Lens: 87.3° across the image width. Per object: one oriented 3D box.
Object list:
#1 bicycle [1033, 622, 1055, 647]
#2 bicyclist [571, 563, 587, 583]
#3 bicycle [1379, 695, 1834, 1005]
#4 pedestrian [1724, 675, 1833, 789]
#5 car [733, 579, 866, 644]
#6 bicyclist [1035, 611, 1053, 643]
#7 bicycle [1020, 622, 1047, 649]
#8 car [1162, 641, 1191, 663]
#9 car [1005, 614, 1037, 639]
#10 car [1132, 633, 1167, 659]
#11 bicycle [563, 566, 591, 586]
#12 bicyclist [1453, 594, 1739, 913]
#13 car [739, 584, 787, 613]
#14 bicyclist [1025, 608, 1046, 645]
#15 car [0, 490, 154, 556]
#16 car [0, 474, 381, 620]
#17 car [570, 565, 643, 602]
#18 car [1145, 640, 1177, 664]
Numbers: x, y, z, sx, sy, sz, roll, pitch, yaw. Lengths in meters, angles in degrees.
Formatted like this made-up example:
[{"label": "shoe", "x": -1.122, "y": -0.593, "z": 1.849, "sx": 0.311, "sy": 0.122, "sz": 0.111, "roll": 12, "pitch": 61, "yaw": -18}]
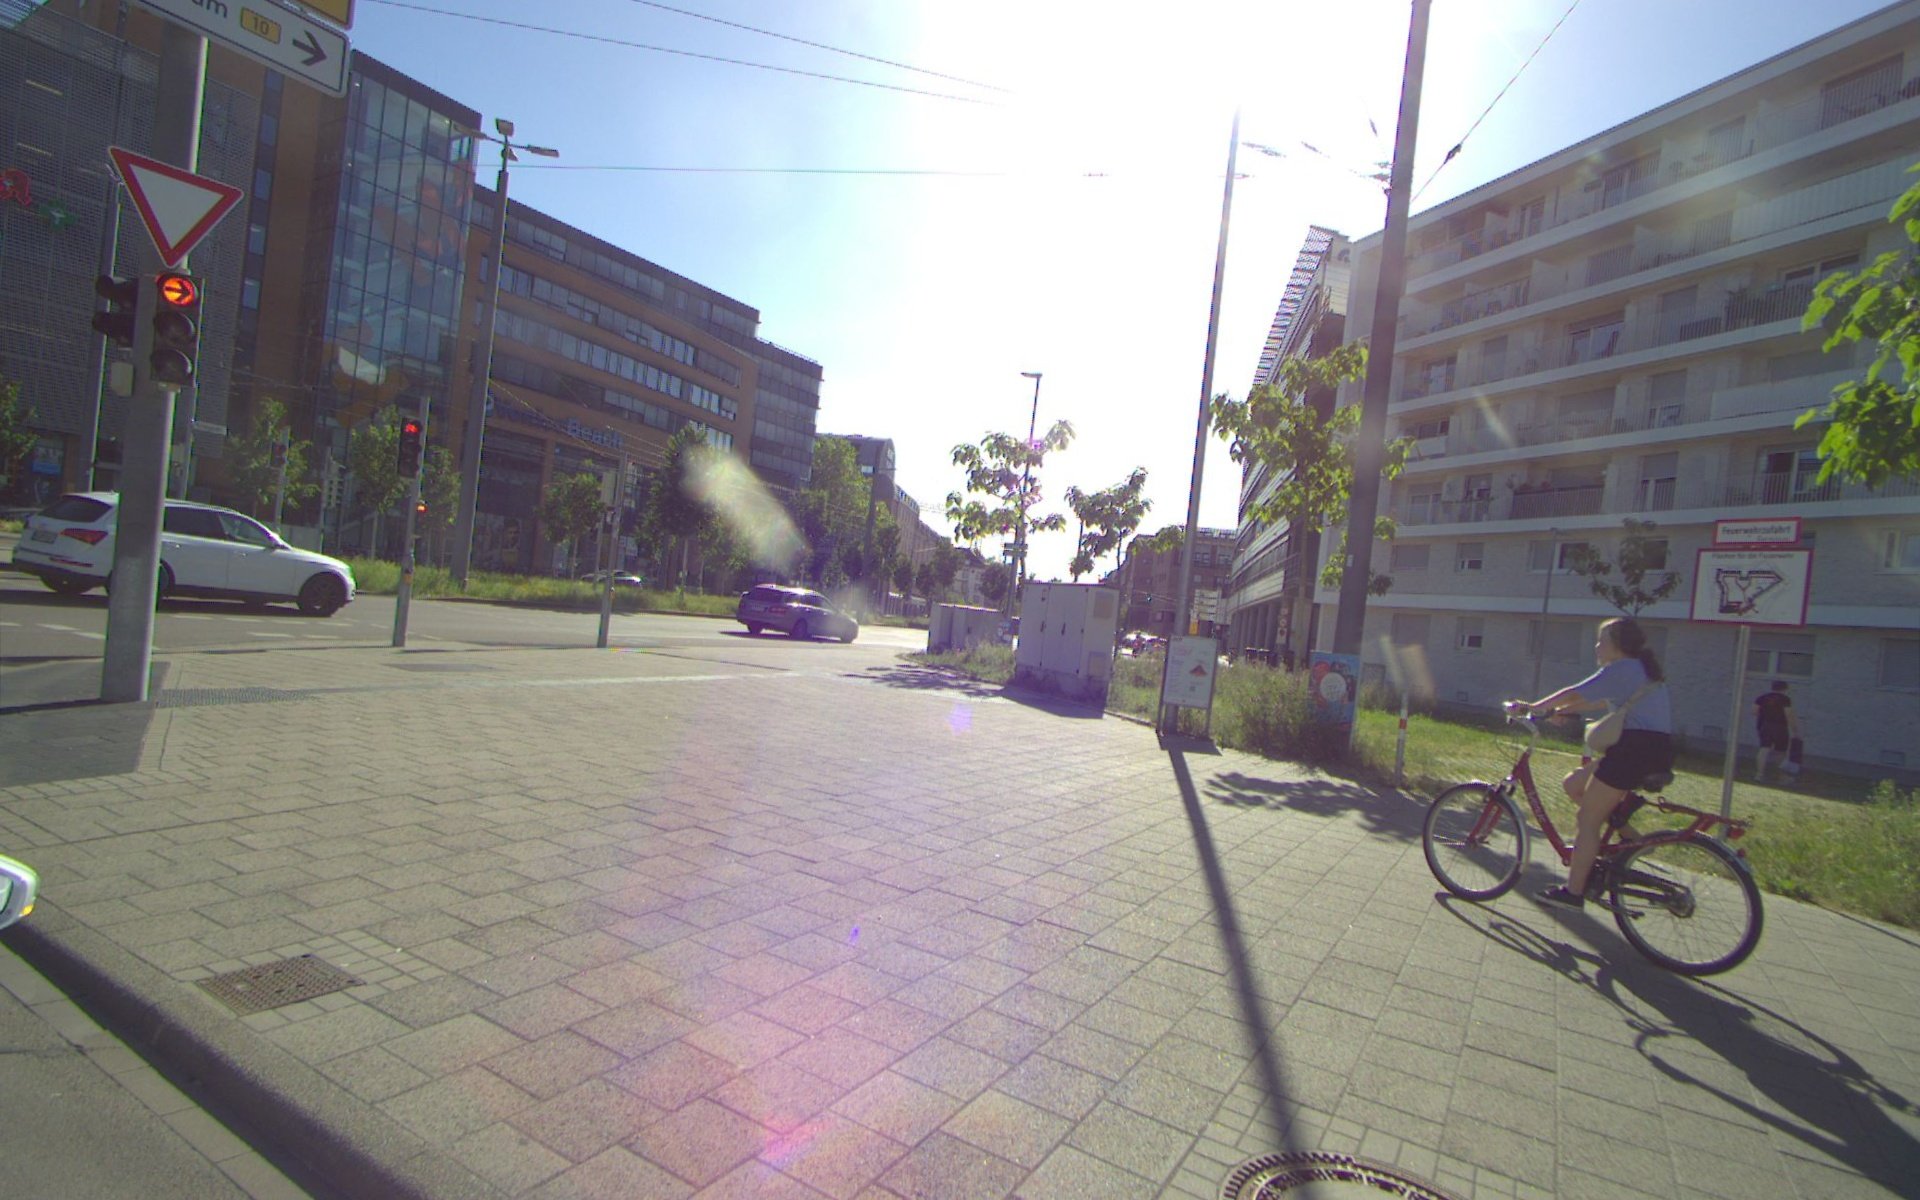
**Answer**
[{"label": "bicycle", "x": 4.472, "y": 1.839, "z": 53.599, "sx": 0.576, "sy": 1.150, "sz": 1.761, "roll": 7, "pitch": -2, "yaw": 22}, {"label": "bicyclist", "x": -27.955, "y": -1.975, "z": 73.745, "sx": 0.556, "sy": 1.404, "sz": 0.754, "roll": 9, "pitch": 2, "yaw": 31}, {"label": "bicycle", "x": 3.220, "y": 1.163, "z": 5.233, "sx": 0.661, "sy": 1.086, "sz": 1.805, "roll": 4, "pitch": 2, "yaw": -31}, {"label": "pedestrian", "x": 13.675, "y": 2.190, "z": 16.831, "sx": 0.970, "sy": 1.719, "sz": 0.842, "roll": 6, "pitch": 2, "yaw": -16}, {"label": "car", "x": -4.904, "y": 0.432, "z": 31.578, "sx": 1.676, "sy": 1.591, "sz": 4.871, "roll": 7, "pitch": -1, "yaw": 23}, {"label": "bicyclist", "x": 4.455, "y": 1.457, "z": 53.488, "sx": 0.563, "sy": 1.585, "sz": 0.886, "roll": 7, "pitch": -1, "yaw": 22}, {"label": "bicycle", "x": 3.660, "y": 1.754, "z": 49.678, "sx": 0.571, "sy": 1.150, "sz": 1.907, "roll": 7, "pitch": -2, "yaw": 25}, {"label": "car", "x": 17.915, "y": 4.314, "z": 83.265, "sx": 1.677, "sy": 1.515, "sz": 4.281, "roll": 7, "pitch": -2, "yaw": 19}, {"label": "car", "x": 4.741, "y": 2.042, "z": 77.758, "sx": 1.615, "sy": 1.665, "sz": 3.704, "roll": 7, "pitch": -1, "yaw": 15}, {"label": "car", "x": 13.489, "y": 3.257, "z": 71.377, "sx": 1.677, "sy": 1.515, "sz": 4.281, "roll": 7, "pitch": -2, "yaw": 19}, {"label": "bicycle", "x": -28.018, "y": -1.747, "z": 73.683, "sx": 0.559, "sy": 1.232, "sz": 1.859, "roll": 9, "pitch": 1, "yaw": 31}, {"label": "bicyclist", "x": 3.277, "y": 0.746, "z": 5.236, "sx": 0.662, "sy": 1.454, "sz": 0.933, "roll": 6, "pitch": 0, "yaw": -30}, {"label": "car", "x": -15.823, "y": -0.111, "z": 80.978, "sx": 1.806, "sy": 1.885, "sz": 4.343, "roll": 6, "pitch": -1, "yaw": 17}, {"label": "bicyclist", "x": 3.726, "y": 1.306, "z": 49.699, "sx": 0.563, "sy": 1.727, "sz": 0.885, "roll": 7, "pitch": -1, "yaw": 25}, {"label": "car", "x": -32.074, "y": -2.765, "z": 36.330, "sx": 1.810, "sy": 1.484, "sz": 4.161, "roll": 6, "pitch": -5, "yaw": 30}, {"label": "car", "x": -12.206, "y": -0.723, "z": 16.247, "sx": 1.902, "sy": 1.728, "sz": 4.683, "roll": 7, "pitch": 0, "yaw": 21}, {"label": "car", "x": -22.296, "y": -1.006, "z": 63.639, "sx": 1.807, "sy": 1.600, "sz": 4.310, "roll": 6, "pitch": -5, "yaw": 23}, {"label": "car", "x": 15.445, "y": 4.000, "z": 77.235, "sx": 1.677, "sy": 1.515, "sz": 4.281, "roll": 7, "pitch": -2, "yaw": 19}]
